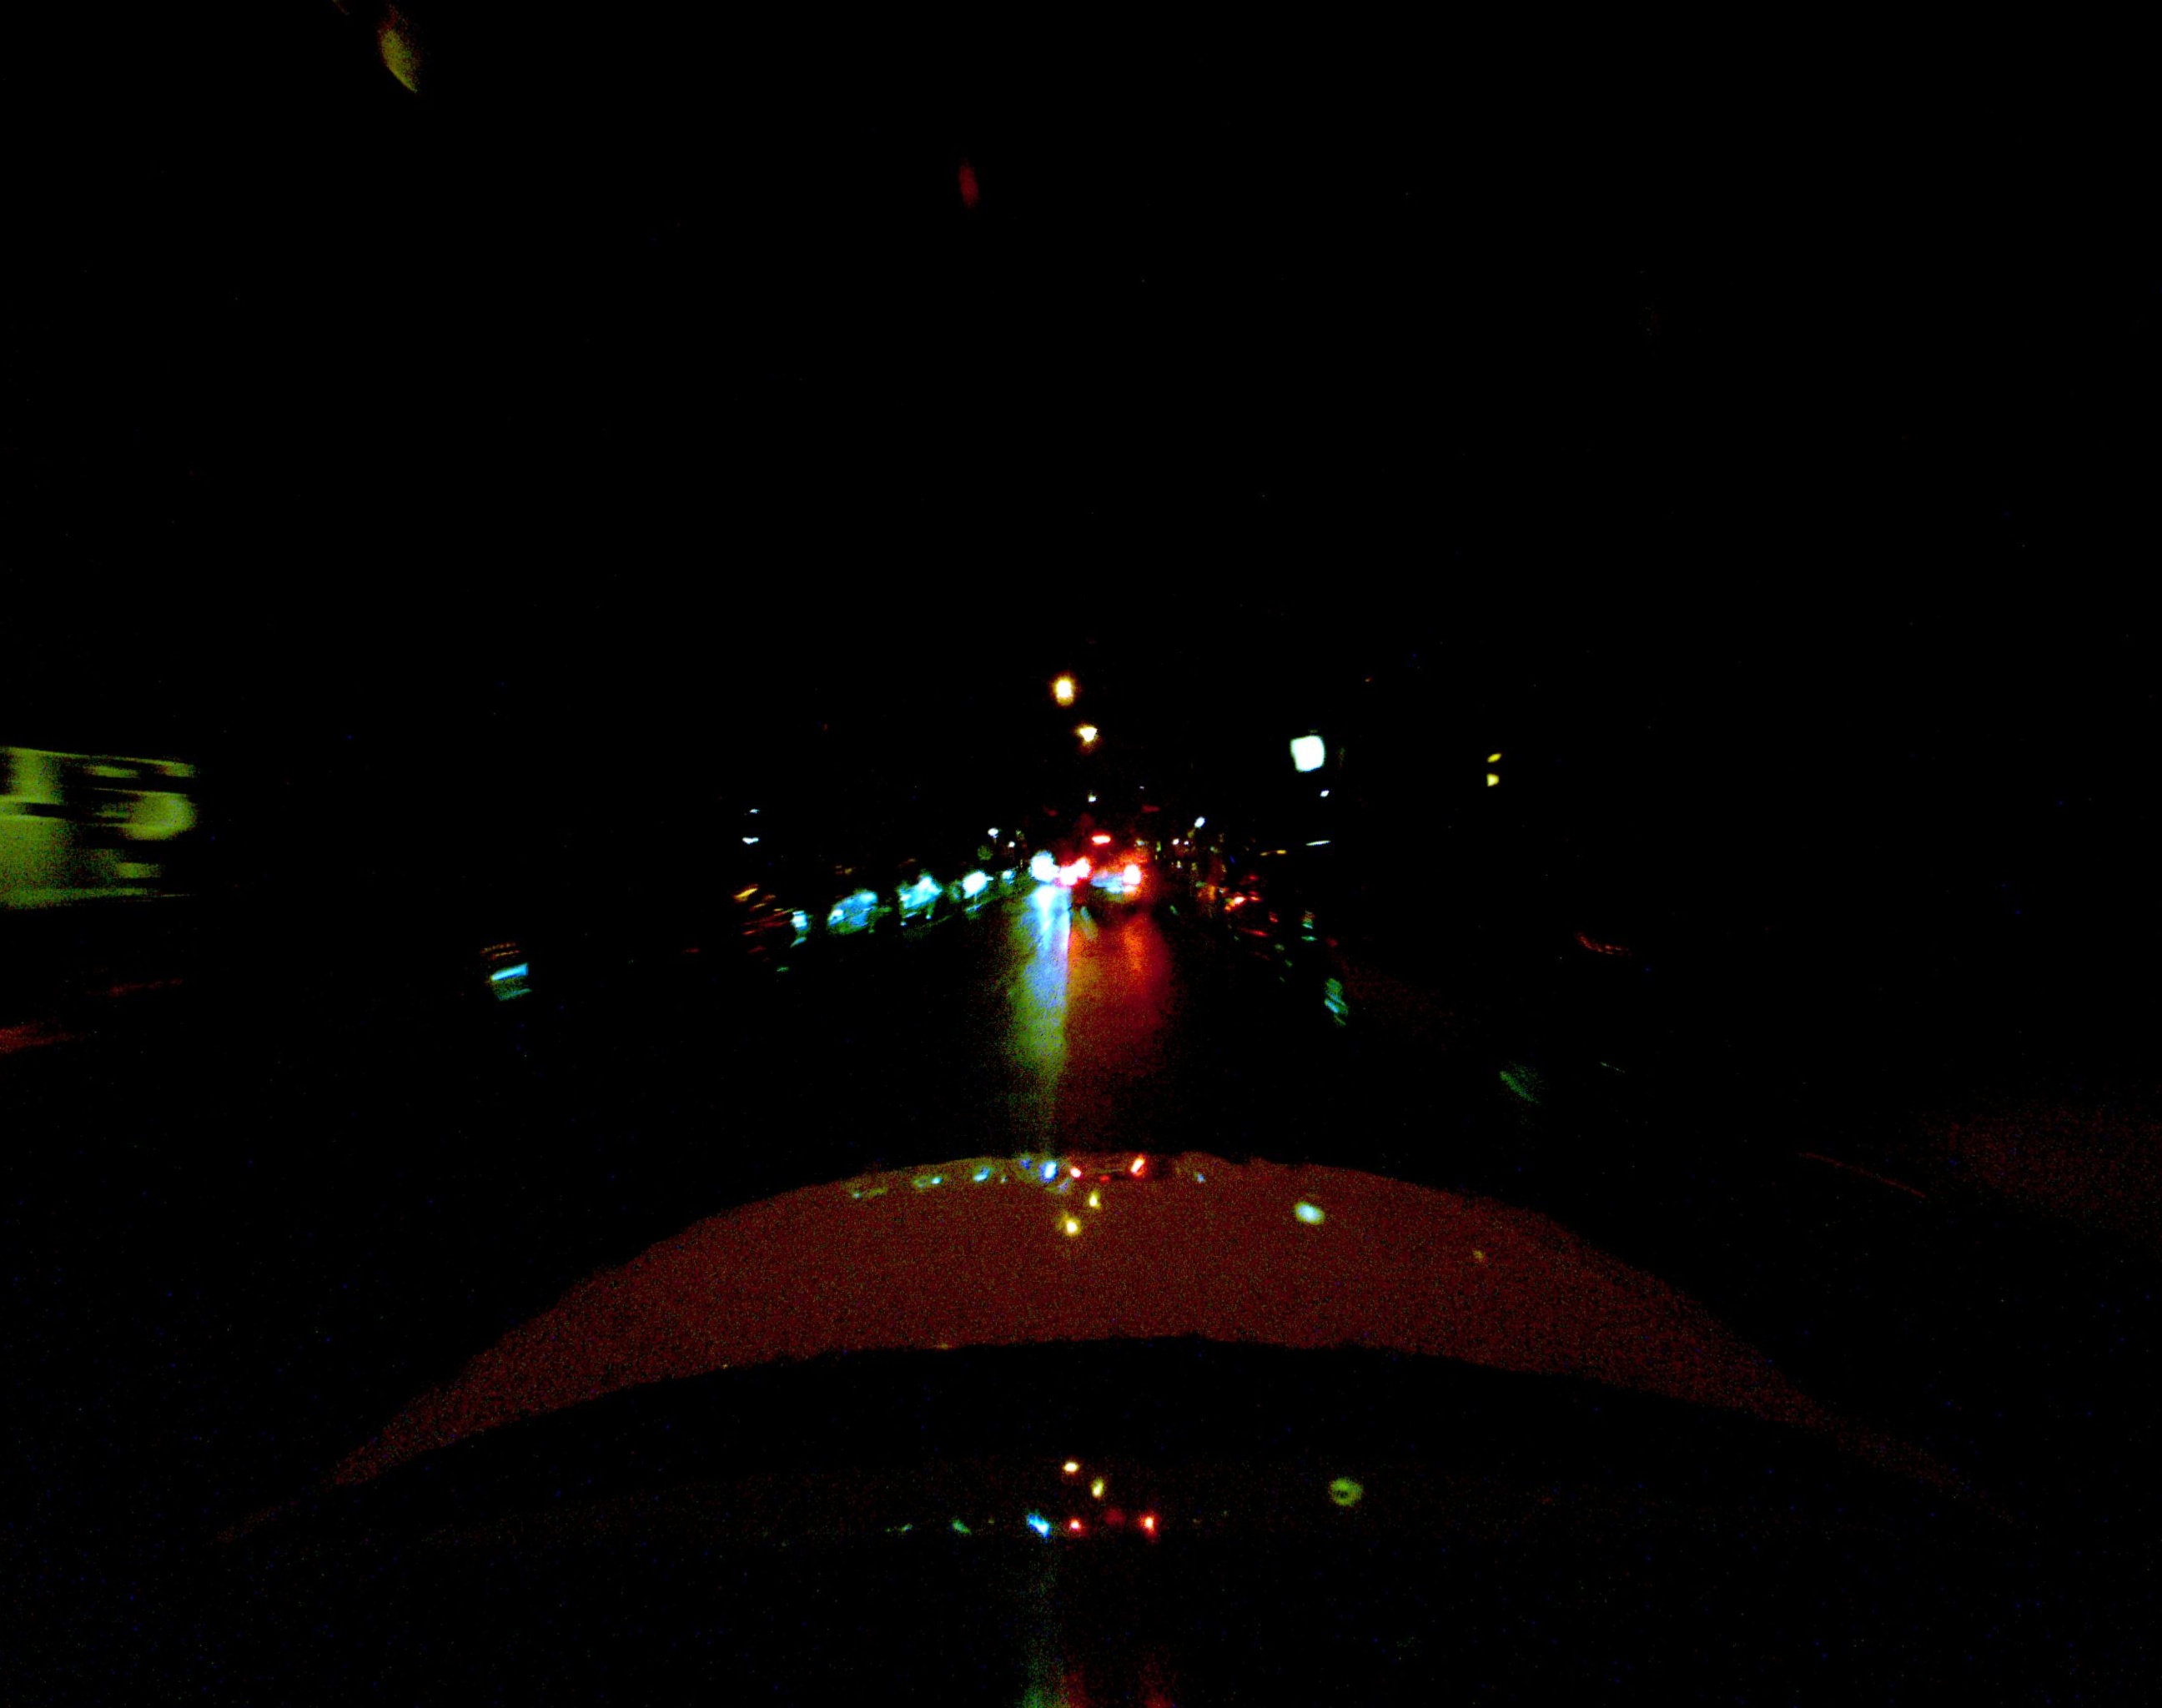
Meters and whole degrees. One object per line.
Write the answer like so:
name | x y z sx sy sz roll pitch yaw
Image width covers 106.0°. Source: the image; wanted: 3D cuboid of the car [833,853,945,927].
car | -4.588 0.805 20.011 1.739 1.588 3.767 -2 0 2

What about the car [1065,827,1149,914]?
car | 0.727 0.397 22.071 1.988 2.049 4.696 -2 0 2

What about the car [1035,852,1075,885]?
car | -1.342 0.757 44.470 1.914 1.618 4.574 -4 0 0

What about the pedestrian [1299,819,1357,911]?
pedestrian | 5.100 0.213 16.875 0.858 1.788 1.084 -4 1 5

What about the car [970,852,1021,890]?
car | -4.132 0.792 40.001 1.826 1.717 4.596 -2 0 2

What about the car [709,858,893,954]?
car | -5.016 0.852 15.311 1.826 1.481 4.308 -2 0 2

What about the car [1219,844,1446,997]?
car | 2.895 0.687 10.262 1.683 1.498 3.892 -2 0 1

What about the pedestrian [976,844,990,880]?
pedestrian | -5.358 0.454 44.686 0.654 1.974 0.769 1 -1 -2

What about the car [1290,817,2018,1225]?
car | 2.733 0.643 5.090 1.685 1.498 3.888 -2 0 -2

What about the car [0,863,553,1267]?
car | -5.144 0.877 4.391 1.768 1.572 4.136 -2 0 2

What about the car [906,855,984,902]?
car | -4.714 0.812 28.952 1.826 1.486 4.596 -2 0 2

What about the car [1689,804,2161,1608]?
car | 2.908 0.607 0.394 1.986 1.464 4.418 -2 0 1

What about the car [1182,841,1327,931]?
car | 3.107 0.536 15.432 1.911 1.412 4.000 -2 0 1

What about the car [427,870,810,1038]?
car | -4.904 0.943 9.542 1.815 1.390 4.427 -2 0 2

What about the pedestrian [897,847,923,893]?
pedestrian | -6.802 0.651 32.510 0.739 1.804 0.988 0 -1 5
